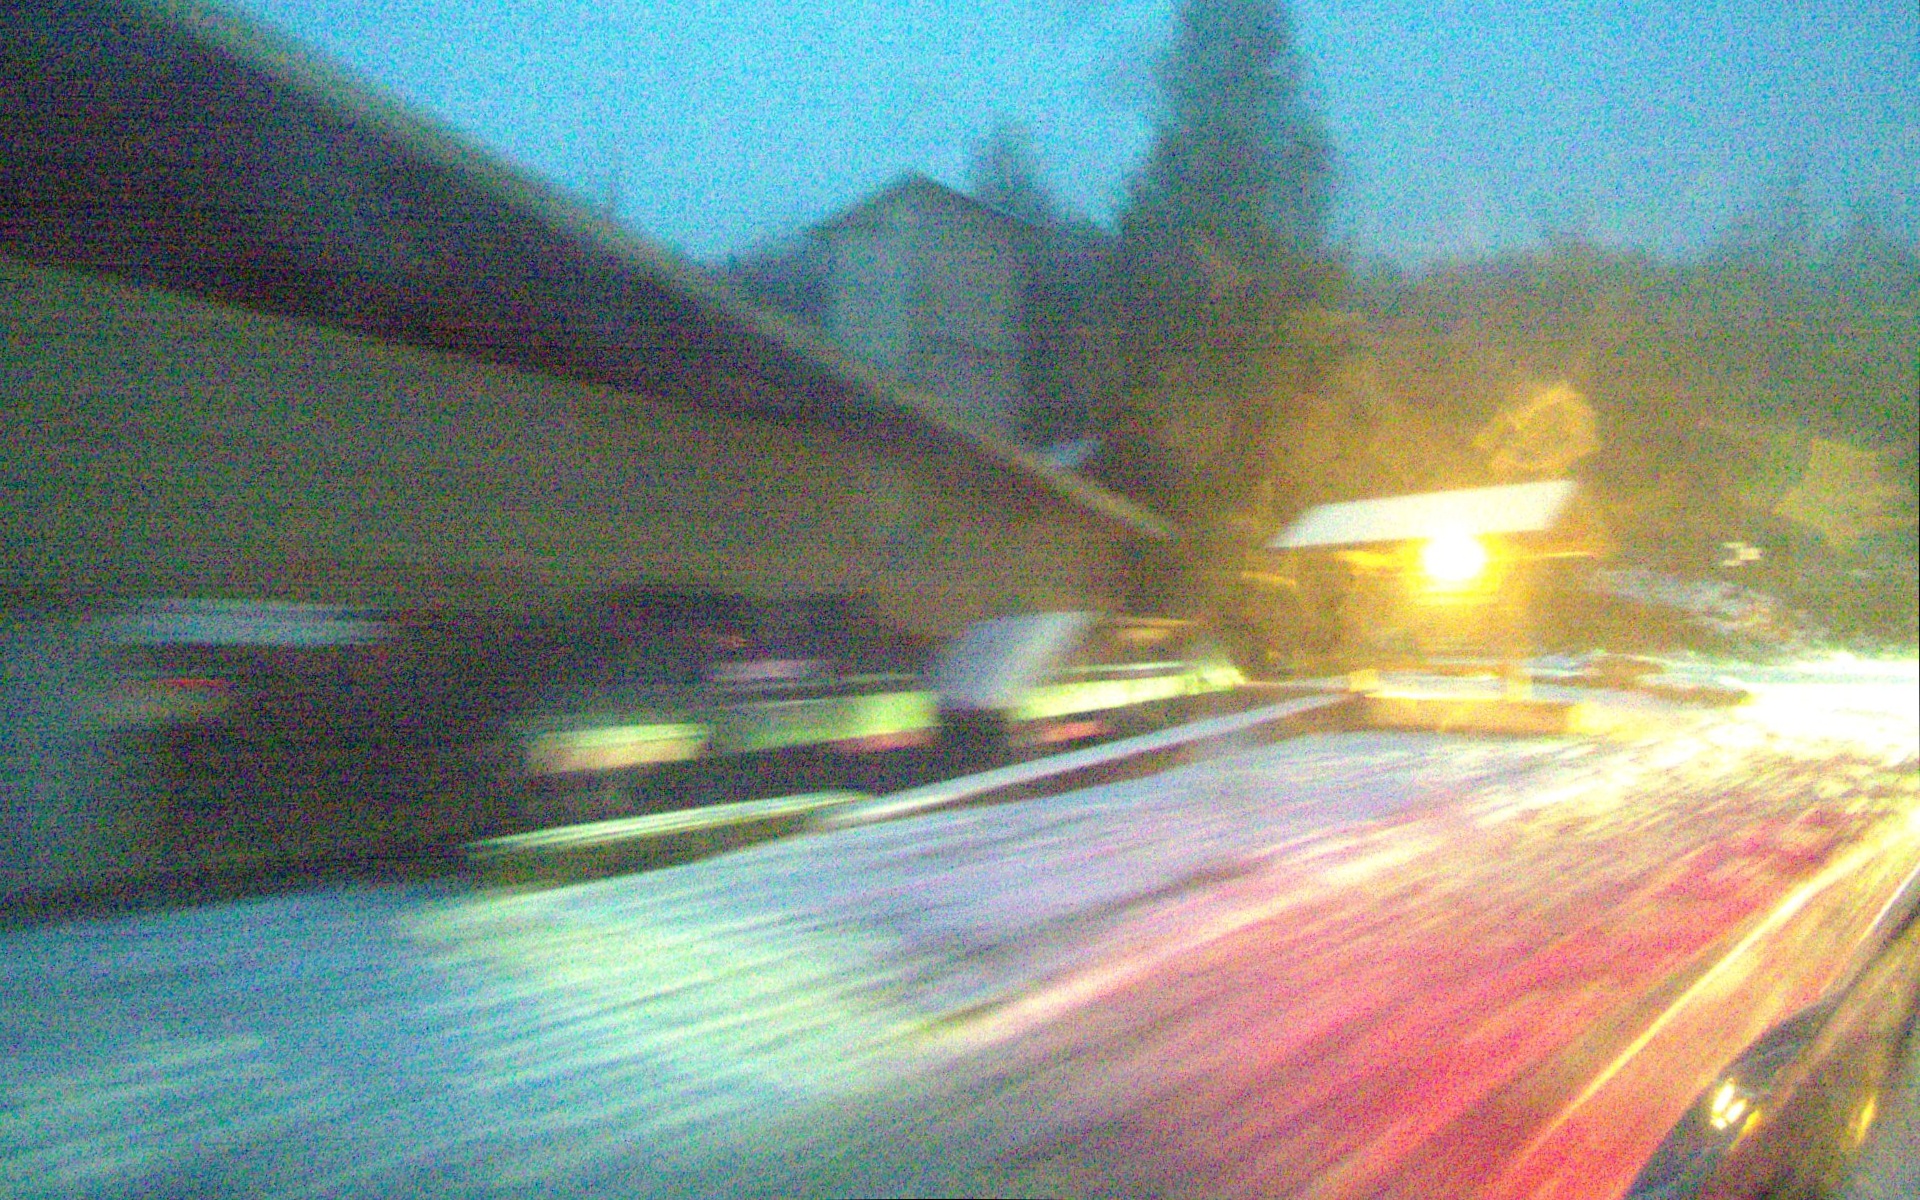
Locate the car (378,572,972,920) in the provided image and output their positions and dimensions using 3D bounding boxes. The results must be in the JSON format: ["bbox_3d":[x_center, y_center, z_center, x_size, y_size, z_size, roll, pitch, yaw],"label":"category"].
[{"bbox_3d":[-2.060,0.892,8.257,1.877,2.066,4.323,-3,-2,43],"label":"car"}]

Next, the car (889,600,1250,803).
[{"bbox_3d":[1.363,0.950,11.313,1.877,1.833,4.090,-3,-2,44],"label":"car"}]
